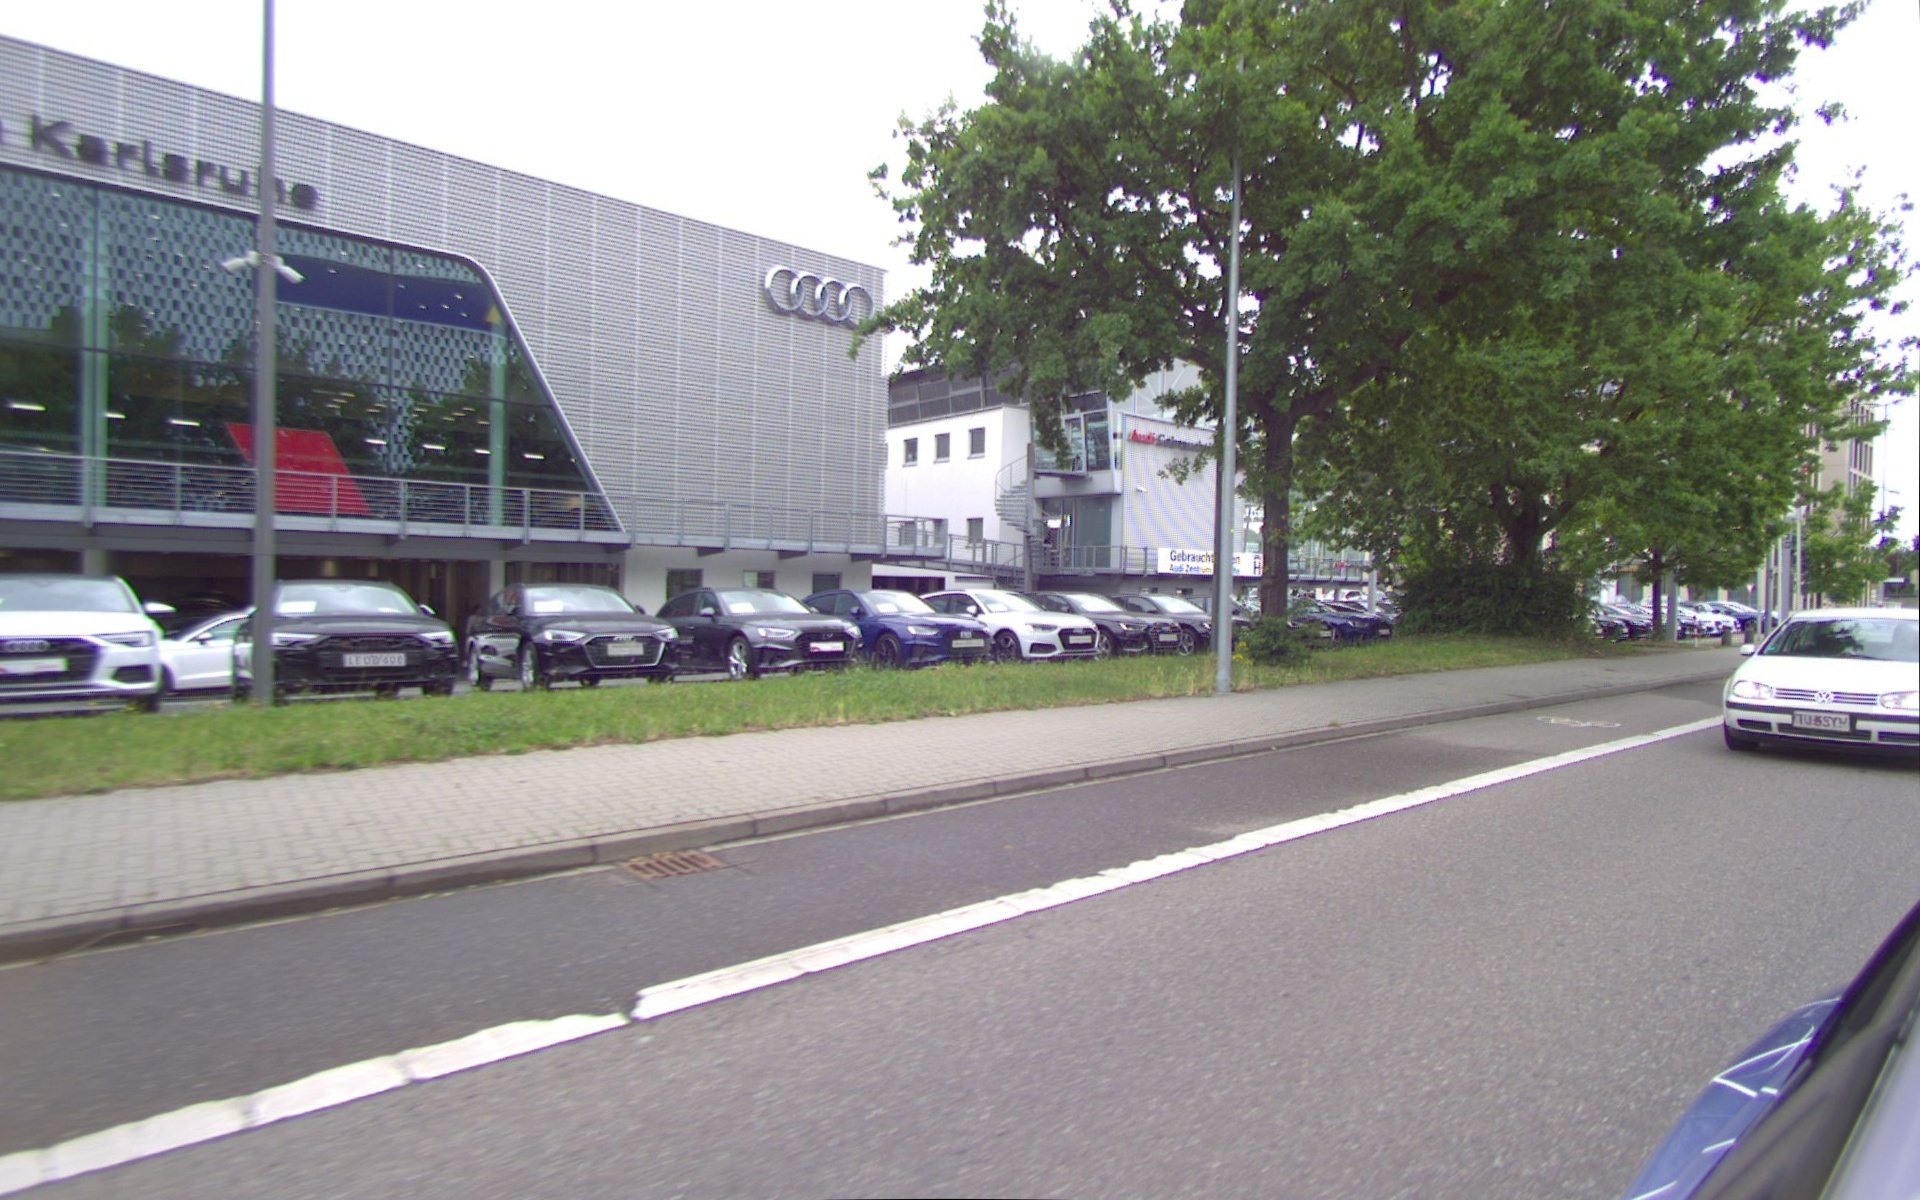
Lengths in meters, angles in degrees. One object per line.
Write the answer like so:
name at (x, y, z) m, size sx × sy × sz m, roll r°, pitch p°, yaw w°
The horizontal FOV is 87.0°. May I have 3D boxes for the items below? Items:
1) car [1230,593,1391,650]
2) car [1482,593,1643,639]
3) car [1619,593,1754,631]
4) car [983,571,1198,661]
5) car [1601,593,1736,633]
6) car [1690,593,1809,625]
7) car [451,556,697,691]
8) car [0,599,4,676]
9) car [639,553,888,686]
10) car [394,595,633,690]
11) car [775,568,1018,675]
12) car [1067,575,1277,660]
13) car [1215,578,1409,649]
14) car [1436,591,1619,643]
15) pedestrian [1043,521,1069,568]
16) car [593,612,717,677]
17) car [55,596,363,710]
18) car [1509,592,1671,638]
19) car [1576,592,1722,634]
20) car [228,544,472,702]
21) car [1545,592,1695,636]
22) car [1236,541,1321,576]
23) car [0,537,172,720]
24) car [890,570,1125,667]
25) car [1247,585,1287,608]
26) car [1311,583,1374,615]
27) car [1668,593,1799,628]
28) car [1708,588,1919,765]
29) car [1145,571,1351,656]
car at (10.504, 0.647, 30.527) m, size 4.197 × 1.518 × 1.767 m, roll 2°, pitch -1°, yaw 2°
car at (19.773, 0.550, 33.336) m, size 1.868 × 1.409 × 4.162 m, roll 0°, pitch -2°, yaw -39°
car at (30.090, 0.517, 42.030) m, size 1.819 × 1.505 × 4.194 m, roll 0°, pitch -2°, yaw -38°
car at (2.446, 0.409, 19.846) m, size 1.786 × 1.506 × 4.070 m, roll 3°, pitch -5°, yaw -39°
car at (28.120, 0.531, 40.282) m, size 1.843 × 1.505 × 4.040 m, roll 0°, pitch -2°, yaw -38°
car at (38.129, 0.431, 48.938) m, size 1.841 × 1.505 × 4.225 m, roll -1°, pitch 0°, yaw -38°
car at (-5.193, 0.408, 13.283) m, size 1.898 × 1.476 × 4.184 m, roll 2°, pitch -5°, yaw -37°
car at (-16.190, 0.775, 14.126) m, size 3.927 × 1.683 × 1.897 m, roll 3°, pitch -1°, yaw -39°
car at (-3.045, 0.395, 15.030) m, size 1.963 × 1.685 × 4.184 m, roll 2°, pitch -5°, yaw -37°
car at (-8.785, 0.818, 20.057) m, size 3.927 × 1.683 × 1.897 m, roll 3°, pitch -1°, yaw -39°
car at (-1.161, 0.458, 16.554) m, size 1.940 × 1.506 × 4.190 m, roll 2°, pitch -5°, yaw -38°
car at (4.458, 0.458, 21.829) m, size 1.792 × 1.506 × 4.214 m, roll 3°, pitch -6°, yaw -39°
car at (8.612, 0.406, 25.057) m, size 1.837 × 1.412 × 4.129 m, roll 3°, pitch -6°, yaw -39°
car at (17.637, 0.541, 31.653) m, size 1.814 × 1.491 × 4.658 m, roll 1°, pitch -2°, yaw -39°
pedestrian at (4.341, -2.504, 45.747) m, size 0.786 × 2.039 × 0.746 m, roll 3°, pitch -2°, yaw -41°
car at (-7.682, 1.058, 25.317) m, size 1.620 × 1.420 × 3.764 m, roll 3°, pitch -1°, yaw -39°
car at (-12.510, 0.856, 17.057) m, size 3.927 × 1.683 × 1.897 m, roll 3°, pitch -1°, yaw -39°
car at (21.758, 0.539, 35.090) m, size 1.860 × 1.489 × 4.374 m, roll 1°, pitch -2°, yaw -39°
car at (26.204, 0.530, 38.582) m, size 1.837 × 1.505 × 4.228 m, roll 0°, pitch -2°, yaw -38°
car at (-7.245, 0.400, 11.821) m, size 1.963 × 1.489 × 4.184 m, roll 3°, pitch -6°, yaw -37°
car at (23.996, 0.540, 36.895) m, size 1.874 × 1.505 × 4.185 m, roll 1°, pitch -2°, yaw -39°
car at (16.989, -2.169, 54.112) m, size 1.793 × 1.683 × 3.995 m, roll 3°, pitch -1°, yaw -40°
car at (-9.321, 0.400, 10.316) m, size 1.963 × 1.541 × 4.401 m, roll 3°, pitch -6°, yaw -38°
car at (0.729, 0.431, 18.214) m, size 1.923 × 1.506 × 4.203 m, roll 3°, pitch -5°, yaw -39°
car at (23.054, -0.268, 76.090) m, size 1.888 × 1.679 × 4.441 m, roll -1°, pitch 0°, yaw 4°
car at (26.381, -0.130, 69.696) m, size 4.823 × 2.038 × 1.997 m, roll -2°, pitch 2°, yaw -40°
car at (35.940, 0.516, 47.131) m, size 2.034 × 1.505 × 4.509 m, roll -1°, pitch -1°, yaw -40°
car at (9.318, 0.675, 10.265) m, size 3.931 × 1.496 × 1.837 m, roll 1°, pitch 0°, yaw -38°
car at (6.567, 0.394, 23.456) m, size 1.842 × 1.624 × 4.243 m, roll 3°, pitch -6°, yaw -39°
